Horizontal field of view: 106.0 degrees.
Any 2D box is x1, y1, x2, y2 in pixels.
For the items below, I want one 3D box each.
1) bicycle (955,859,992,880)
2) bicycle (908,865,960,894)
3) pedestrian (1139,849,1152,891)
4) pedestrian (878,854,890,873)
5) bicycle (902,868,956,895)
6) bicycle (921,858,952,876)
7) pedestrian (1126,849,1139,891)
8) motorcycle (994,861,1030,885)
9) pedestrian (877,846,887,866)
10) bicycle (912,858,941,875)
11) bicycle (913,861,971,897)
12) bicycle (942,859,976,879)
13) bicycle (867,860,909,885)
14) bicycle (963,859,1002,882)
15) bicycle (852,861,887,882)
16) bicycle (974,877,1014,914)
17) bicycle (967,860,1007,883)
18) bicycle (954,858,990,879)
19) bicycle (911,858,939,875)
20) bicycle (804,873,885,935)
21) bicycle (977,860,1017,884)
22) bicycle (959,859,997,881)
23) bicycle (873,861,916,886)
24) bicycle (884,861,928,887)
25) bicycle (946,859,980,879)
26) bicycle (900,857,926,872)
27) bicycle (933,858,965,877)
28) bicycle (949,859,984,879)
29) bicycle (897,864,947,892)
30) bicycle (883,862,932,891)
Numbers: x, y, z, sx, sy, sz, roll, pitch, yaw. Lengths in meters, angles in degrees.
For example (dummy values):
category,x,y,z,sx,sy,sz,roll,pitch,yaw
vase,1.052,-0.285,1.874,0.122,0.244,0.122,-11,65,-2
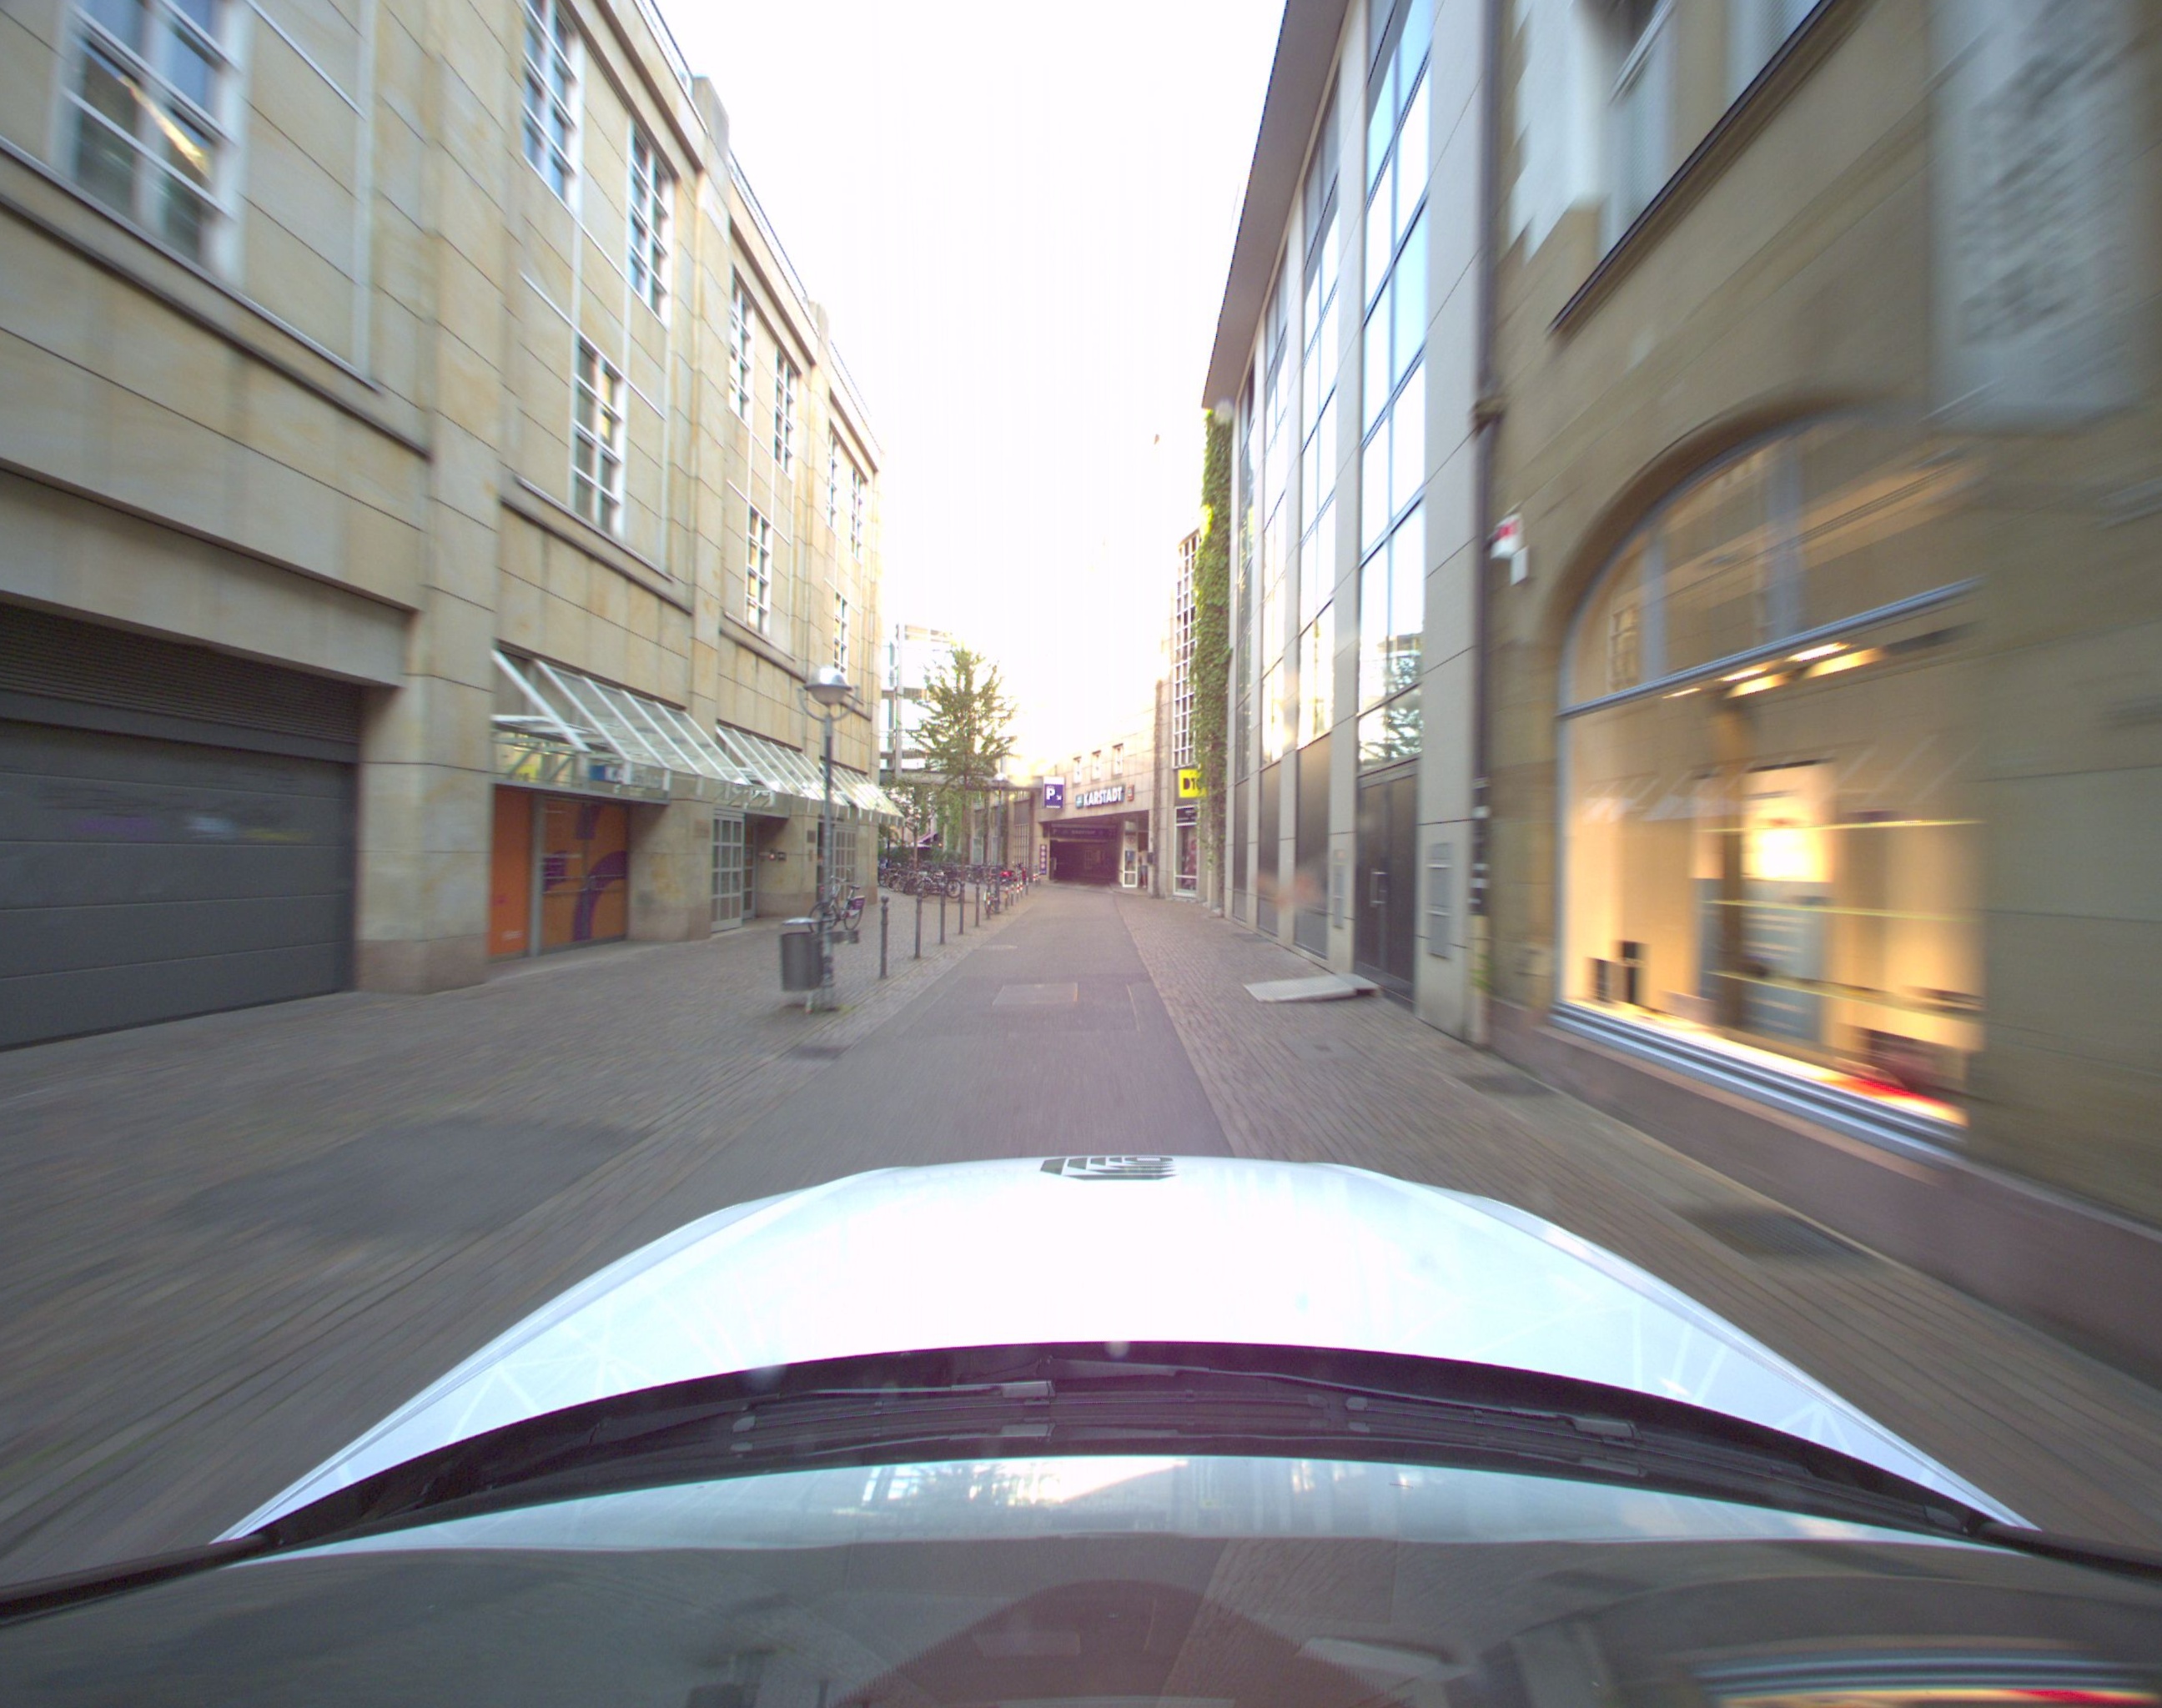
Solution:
category,x,y,z,sx,sy,sz,roll,pitch,yaw
bicycle,-6.258,0.888,47.473,2.000,1.182,0.797,-1,0,-19
bicycle,-5.698,0.974,31.605,1.919,1.101,0.691,1,0,-20
pedestrian,2.866,0.707,35.986,0.539,1.861,0.409,1,0,7
pedestrian,-15.143,0.734,62.598,0.750,1.509,0.633,0,0,-21
bicycle,-5.714,1.018,30.685,1.919,0.994,0.691,1,0,-20
bicycle,-9.919,0.902,55.829,2.000,1.182,0.689,-1,0,-19
pedestrian,2.283,0.697,36.223,0.539,1.846,0.409,1,0,7
motorcycle,-3.507,0.970,41.470,1.750,1.155,0.591,-1,0,-17
pedestrian,-17.901,0.194,73.159,0.768,1.804,0.771,0,0,-21
bicycle,-11.333,0.932,59.677,2.000,1.182,0.689,-1,0,-19
bicycle,-4.994,0.886,29.273,1.919,1.261,0.803,1,0,-20
bicycle,-7.749,0.936,51.653,2.000,1.182,0.689,-1,0,-19
bicycle,-9.299,0.905,39.166,1.917,1.182,0.692,1,0,-17
bicycle,-5.406,0.888,44.885,2.000,1.182,0.797,-1,0,-19
bicycle,-12.351,1.007,47.546,1.917,1.182,0.692,1,0,-17
bicycle,-2.435,1.140,22.925,0.501,0.966,1.702,0,0,16
bicycle,-5.079,0.927,44.004,2.000,1.182,0.691,-1,0,-19
bicycle,-6.503,0.872,48.460,2.000,1.182,0.689,-1,0,-19
bicycle,-11.596,0.917,60.487,2.000,1.182,0.689,-1,0,-19
bicycle,-4.626,0.957,16.058,0.688,1.112,1.784,0,0,16
bicycle,-4.449,0.946,43.145,2.000,1.182,0.691,-1,0,-19
bicycle,-5.841,0.904,46.018,2.000,1.182,0.797,-1,0,-19
bicycle,-8.748,0.913,38.124,1.917,1.182,0.692,1,0,-17
bicycle,-8.047,0.922,37.386,1.917,1.182,0.692,1,0,-17
bicycle,-7.320,0.914,50.580,2.000,1.182,0.689,-1,0,-19
bicycle,-13.418,0.835,64.976,2.000,1.182,0.689,-1,0,-19
bicycle,-8.770,0.892,54.013,2.000,1.182,0.689,-1,0,-19
bicycle,-6.916,0.892,49.343,2.000,1.182,0.689,-1,0,-19
bicycle,-6.414,0.954,32.792,1.917,1.101,0.692,1,0,-17
bicycle,-7.168,0.933,33.692,1.917,1.182,0.692,1,0,-17
